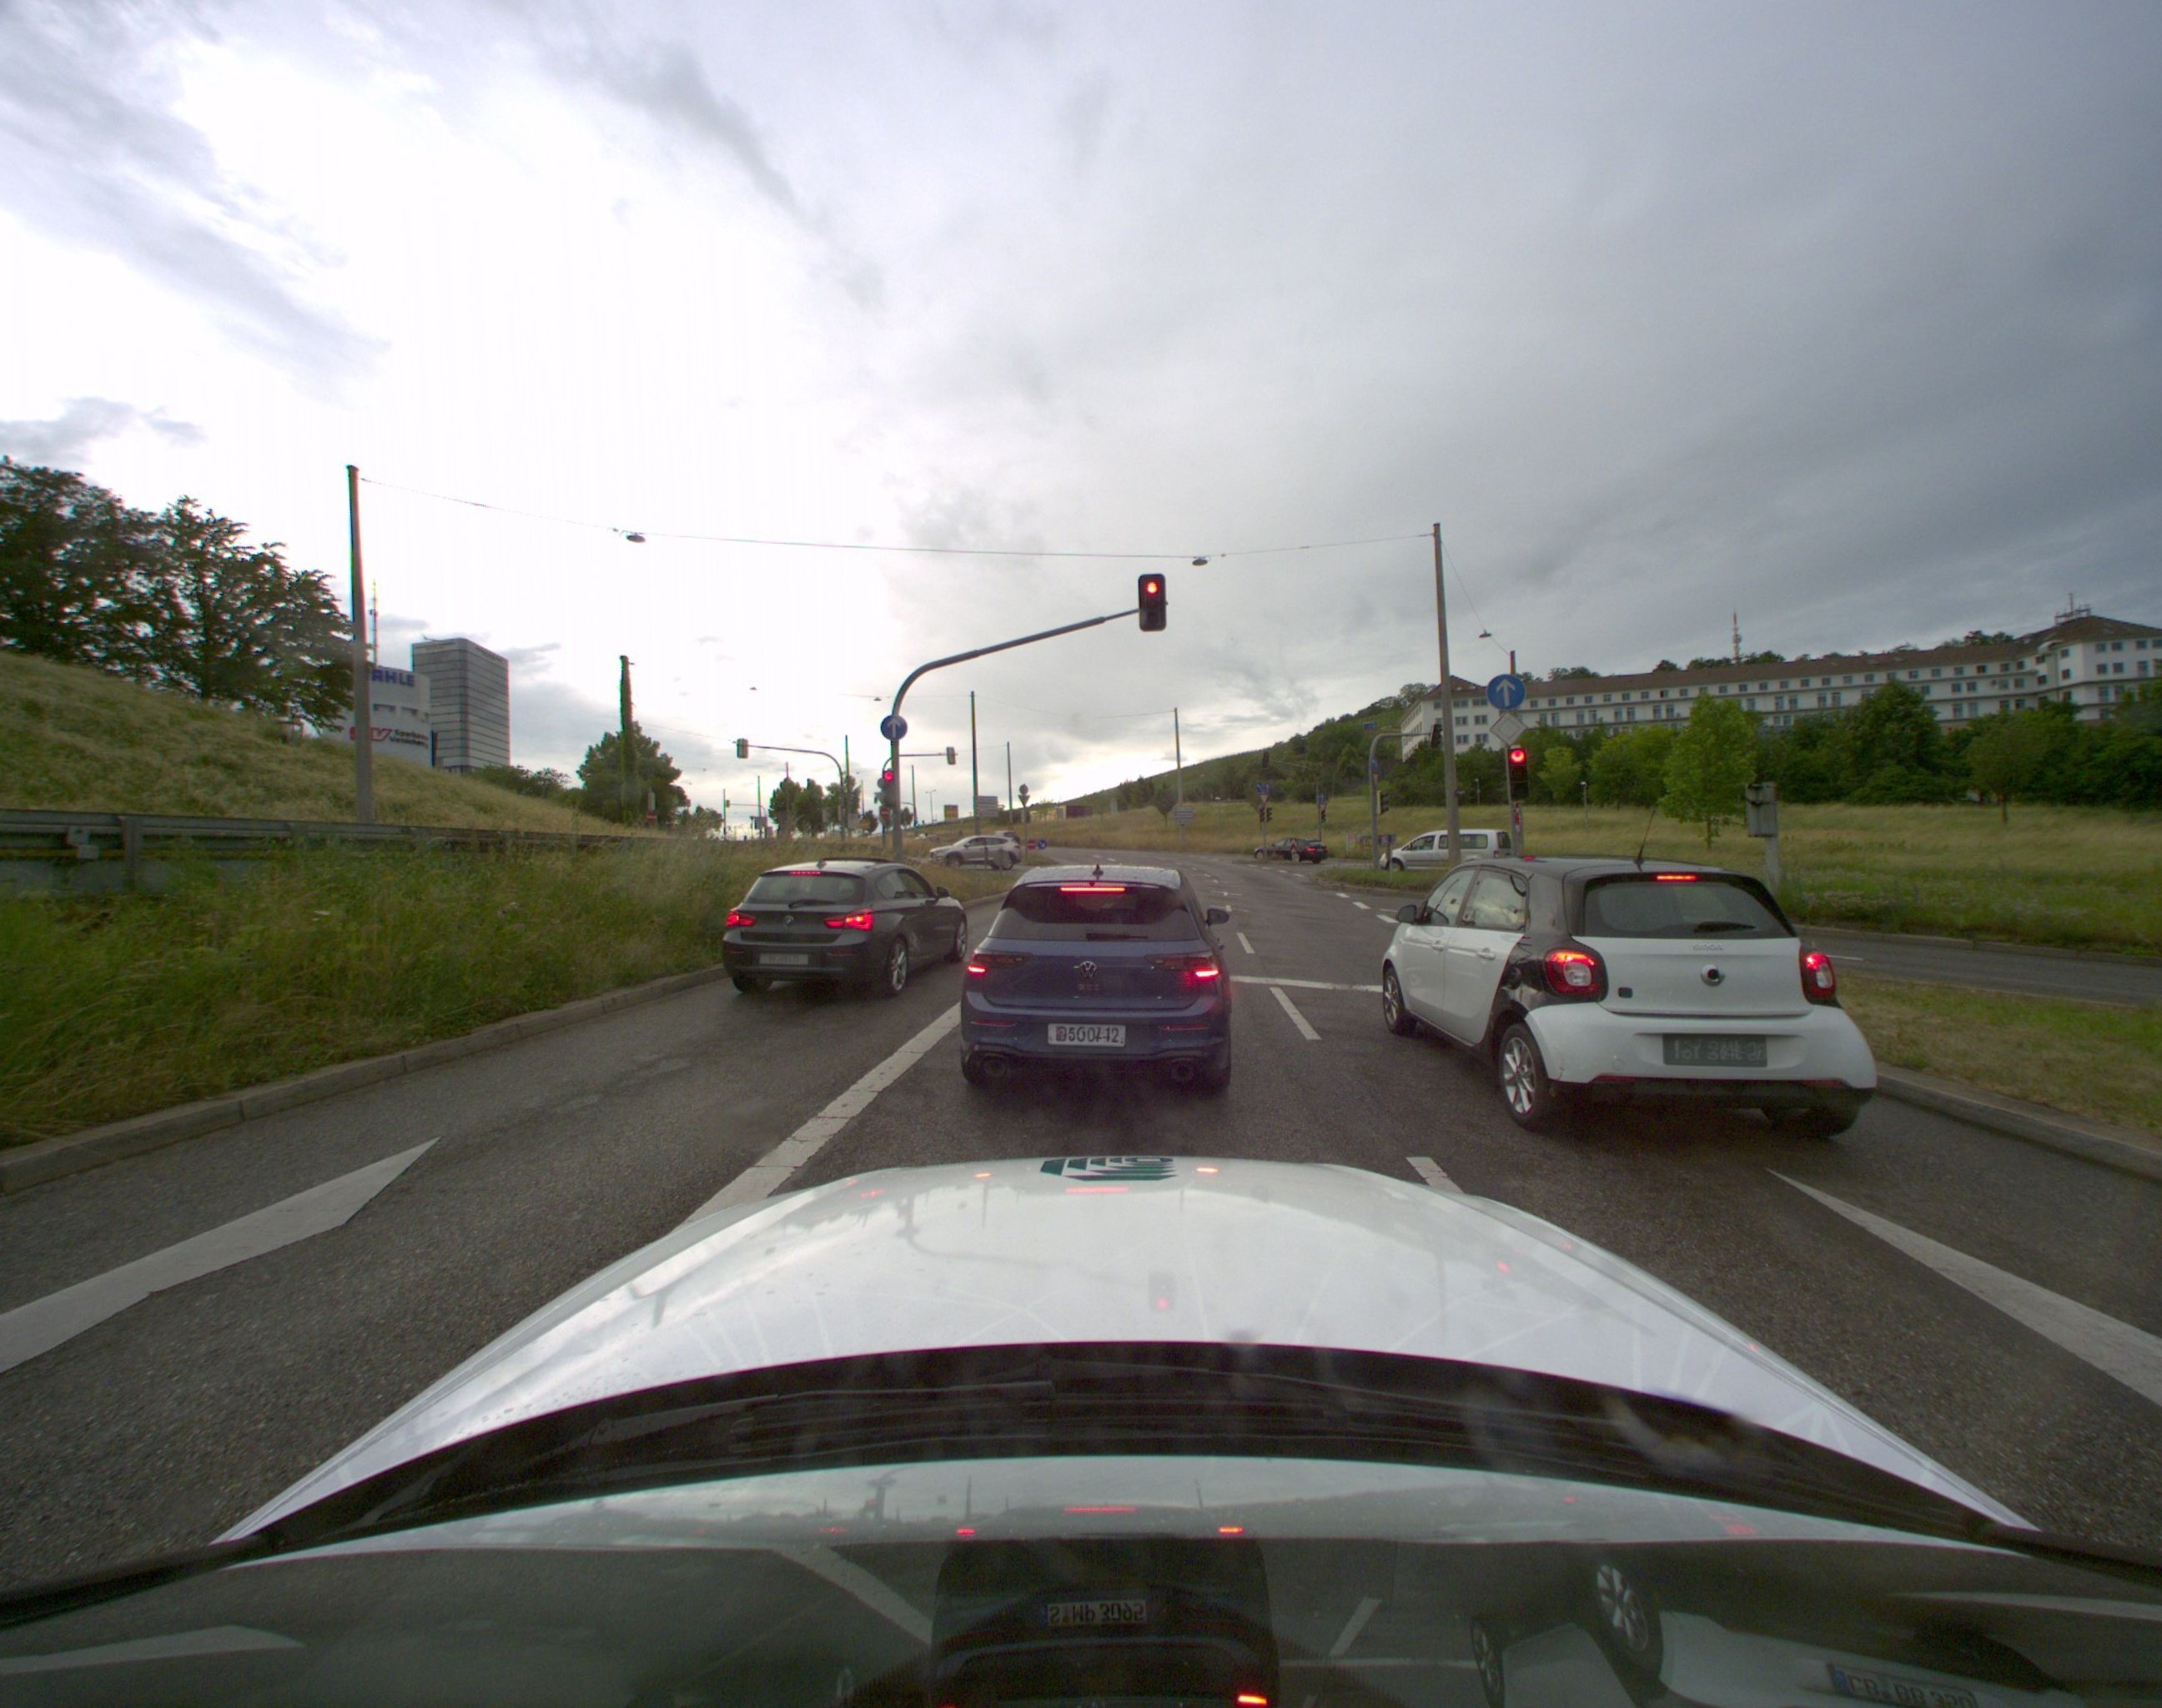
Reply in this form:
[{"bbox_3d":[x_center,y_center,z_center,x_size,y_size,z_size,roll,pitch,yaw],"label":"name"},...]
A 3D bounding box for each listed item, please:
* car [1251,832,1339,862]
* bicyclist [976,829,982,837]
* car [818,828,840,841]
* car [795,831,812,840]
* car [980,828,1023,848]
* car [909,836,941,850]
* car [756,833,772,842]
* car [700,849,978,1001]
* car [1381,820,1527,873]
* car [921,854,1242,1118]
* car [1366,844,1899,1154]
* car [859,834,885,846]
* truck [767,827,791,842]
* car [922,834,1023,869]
[{"bbox_3d":[12.212,-0.378,46.782,2.008,1.618,4.801,0,0,-34],"label":"car"},{"bbox_3d":[-14.152,-2.934,112.914,0.526,1.046,0.575,2,0,-31],"label":"bicyclist"},{"bbox_3d":[-41.057,-3.150,132.654,2.144,1.794,4.692,0,-1,-33],"label":"car"},{"bbox_3d":[-52.018,-3.462,152.613,2.008,1.659,4.497,0,-1,-33],"label":"car"},{"bbox_3d":[-7.373,-1.457,75.140,2.008,1.637,4.373,0,-1,-35],"label":"car"},{"bbox_3d":[-17.638,-1.210,91.936,2.008,1.477,4.455,0,-1,-33],"label":"car"},{"bbox_3d":[-64.246,-3.318,165.033,2.008,1.659,4.308,0,-1,-33],"label":"car"},{"bbox_3d":[-2.633,0.685,9.974,1.693,1.459,4.123,-1,0,7],"label":"car"},{"bbox_3d":[13.934,-0.210,30.654,1.832,1.850,4.640,0,-1,-44],"label":"car"},{"bbox_3d":[0.224,0.745,6.513,1.815,1.460,3.816,-1,0,7],"label":"car"},{"bbox_3d":[3.298,0.732,5.739,1.649,1.503,3.456,-1,-1,6],"label":"car"},{"bbox_3d":[-27.947,-1.877,108.819,2.008,1.477,4.374,0,-1,-33],"label":"car"},{"bbox_3d":[-64.758,-4.223,174.551,3.281,3.074,6.111,2,0,-35],"label":"truck"},{"bbox_3d":[-5.289,-0.118,39.624,4.528,1.620,1.985,0,-1,-22],"label":"car"}]
